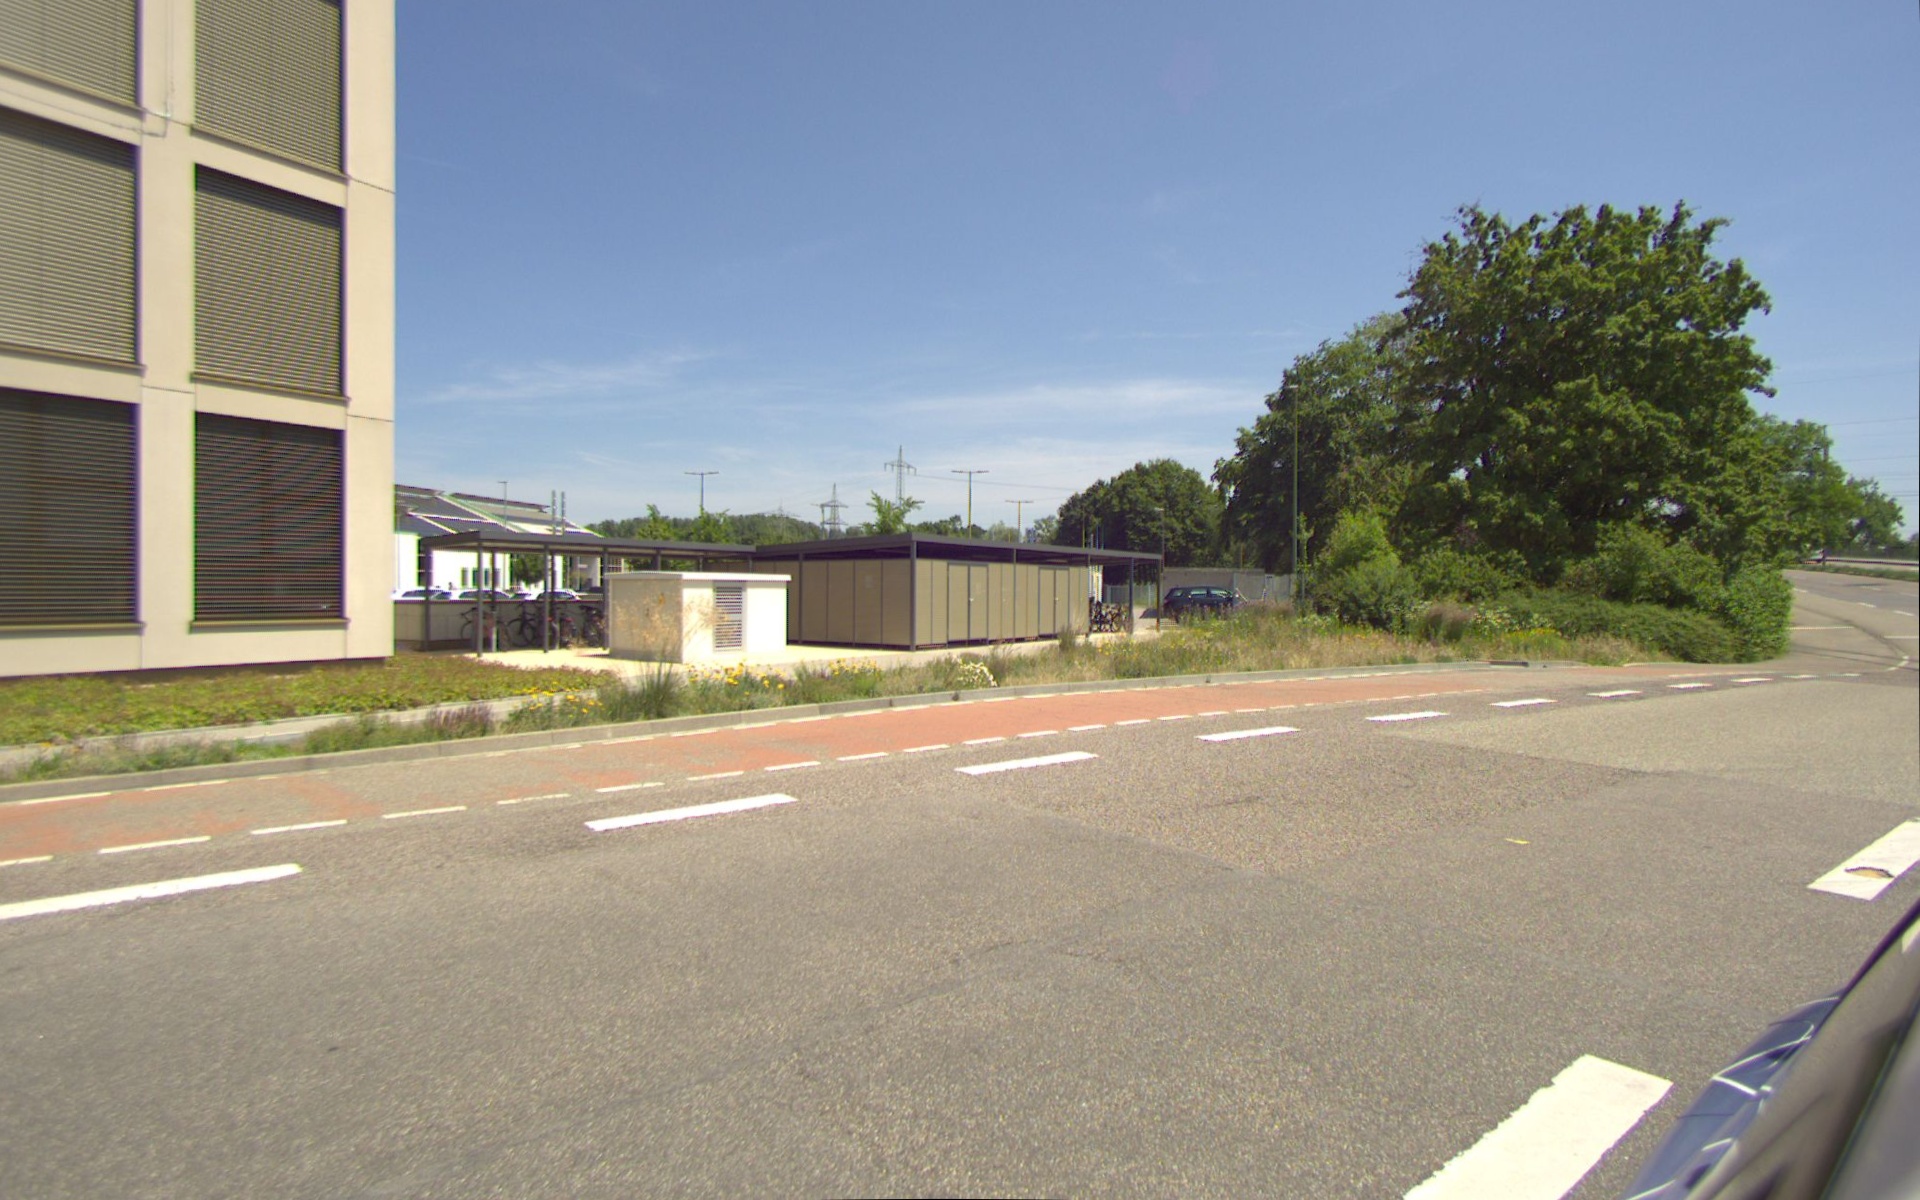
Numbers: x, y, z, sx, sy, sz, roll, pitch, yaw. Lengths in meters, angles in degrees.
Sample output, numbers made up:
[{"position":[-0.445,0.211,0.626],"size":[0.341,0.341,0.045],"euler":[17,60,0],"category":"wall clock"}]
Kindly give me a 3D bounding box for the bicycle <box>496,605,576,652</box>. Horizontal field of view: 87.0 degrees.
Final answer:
[{"position":[-9.830,0.636,23.468],"size":[1.822,1.014,0.728],"euler":[1,1,28],"category":"bicycle"}]

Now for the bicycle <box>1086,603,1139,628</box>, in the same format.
[{"position":[5.630,0.560,37.457],"size":[1.870,0.874,0.583],"euler":[1,1,33],"category":"bicycle"}]

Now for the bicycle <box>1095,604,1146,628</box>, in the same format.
[{"position":[6.049,0.595,38.165],"size":[1.851,0.874,0.577],"euler":[1,1,33],"category":"bicycle"}]

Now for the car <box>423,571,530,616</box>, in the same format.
[{"position":[-21.767,-0.310,45.639],"size":[1.993,1.934,3.938],"euler":[1,1,43],"category":"car"}]

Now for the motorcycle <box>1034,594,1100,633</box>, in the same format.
[{"position":[3.659,0.450,34.571],"size":[2.089,1.303,0.843],"euler":[1,0,27],"category":"motorcycle"}]

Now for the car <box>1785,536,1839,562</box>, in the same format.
[{"position":[78.229,-4.724,93.016],"size":[1.815,2.163,3.995],"euler":[-6,3,8],"category":"car"}]

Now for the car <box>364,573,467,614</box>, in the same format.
[{"position":[-25.990,-0.337,48.378],"size":[1.993,1.875,3.938],"euler":[1,1,43],"category":"car"}]

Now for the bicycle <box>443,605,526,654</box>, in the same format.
[{"position":[-10.539,0.634,22.416],"size":[1.822,1.014,0.728],"euler":[1,1,28],"category":"bicycle"}]

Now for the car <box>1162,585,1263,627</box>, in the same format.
[{"position":[10.458,0.211,42.199],"size":[3.935,1.683,1.833],"euler":[0,1,10],"category":"car"}]

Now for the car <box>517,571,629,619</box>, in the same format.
[{"position":[-16.236,-0.223,42.553],"size":[1.993,1.893,3.938],"euler":[1,1,43],"category":"car"}]
